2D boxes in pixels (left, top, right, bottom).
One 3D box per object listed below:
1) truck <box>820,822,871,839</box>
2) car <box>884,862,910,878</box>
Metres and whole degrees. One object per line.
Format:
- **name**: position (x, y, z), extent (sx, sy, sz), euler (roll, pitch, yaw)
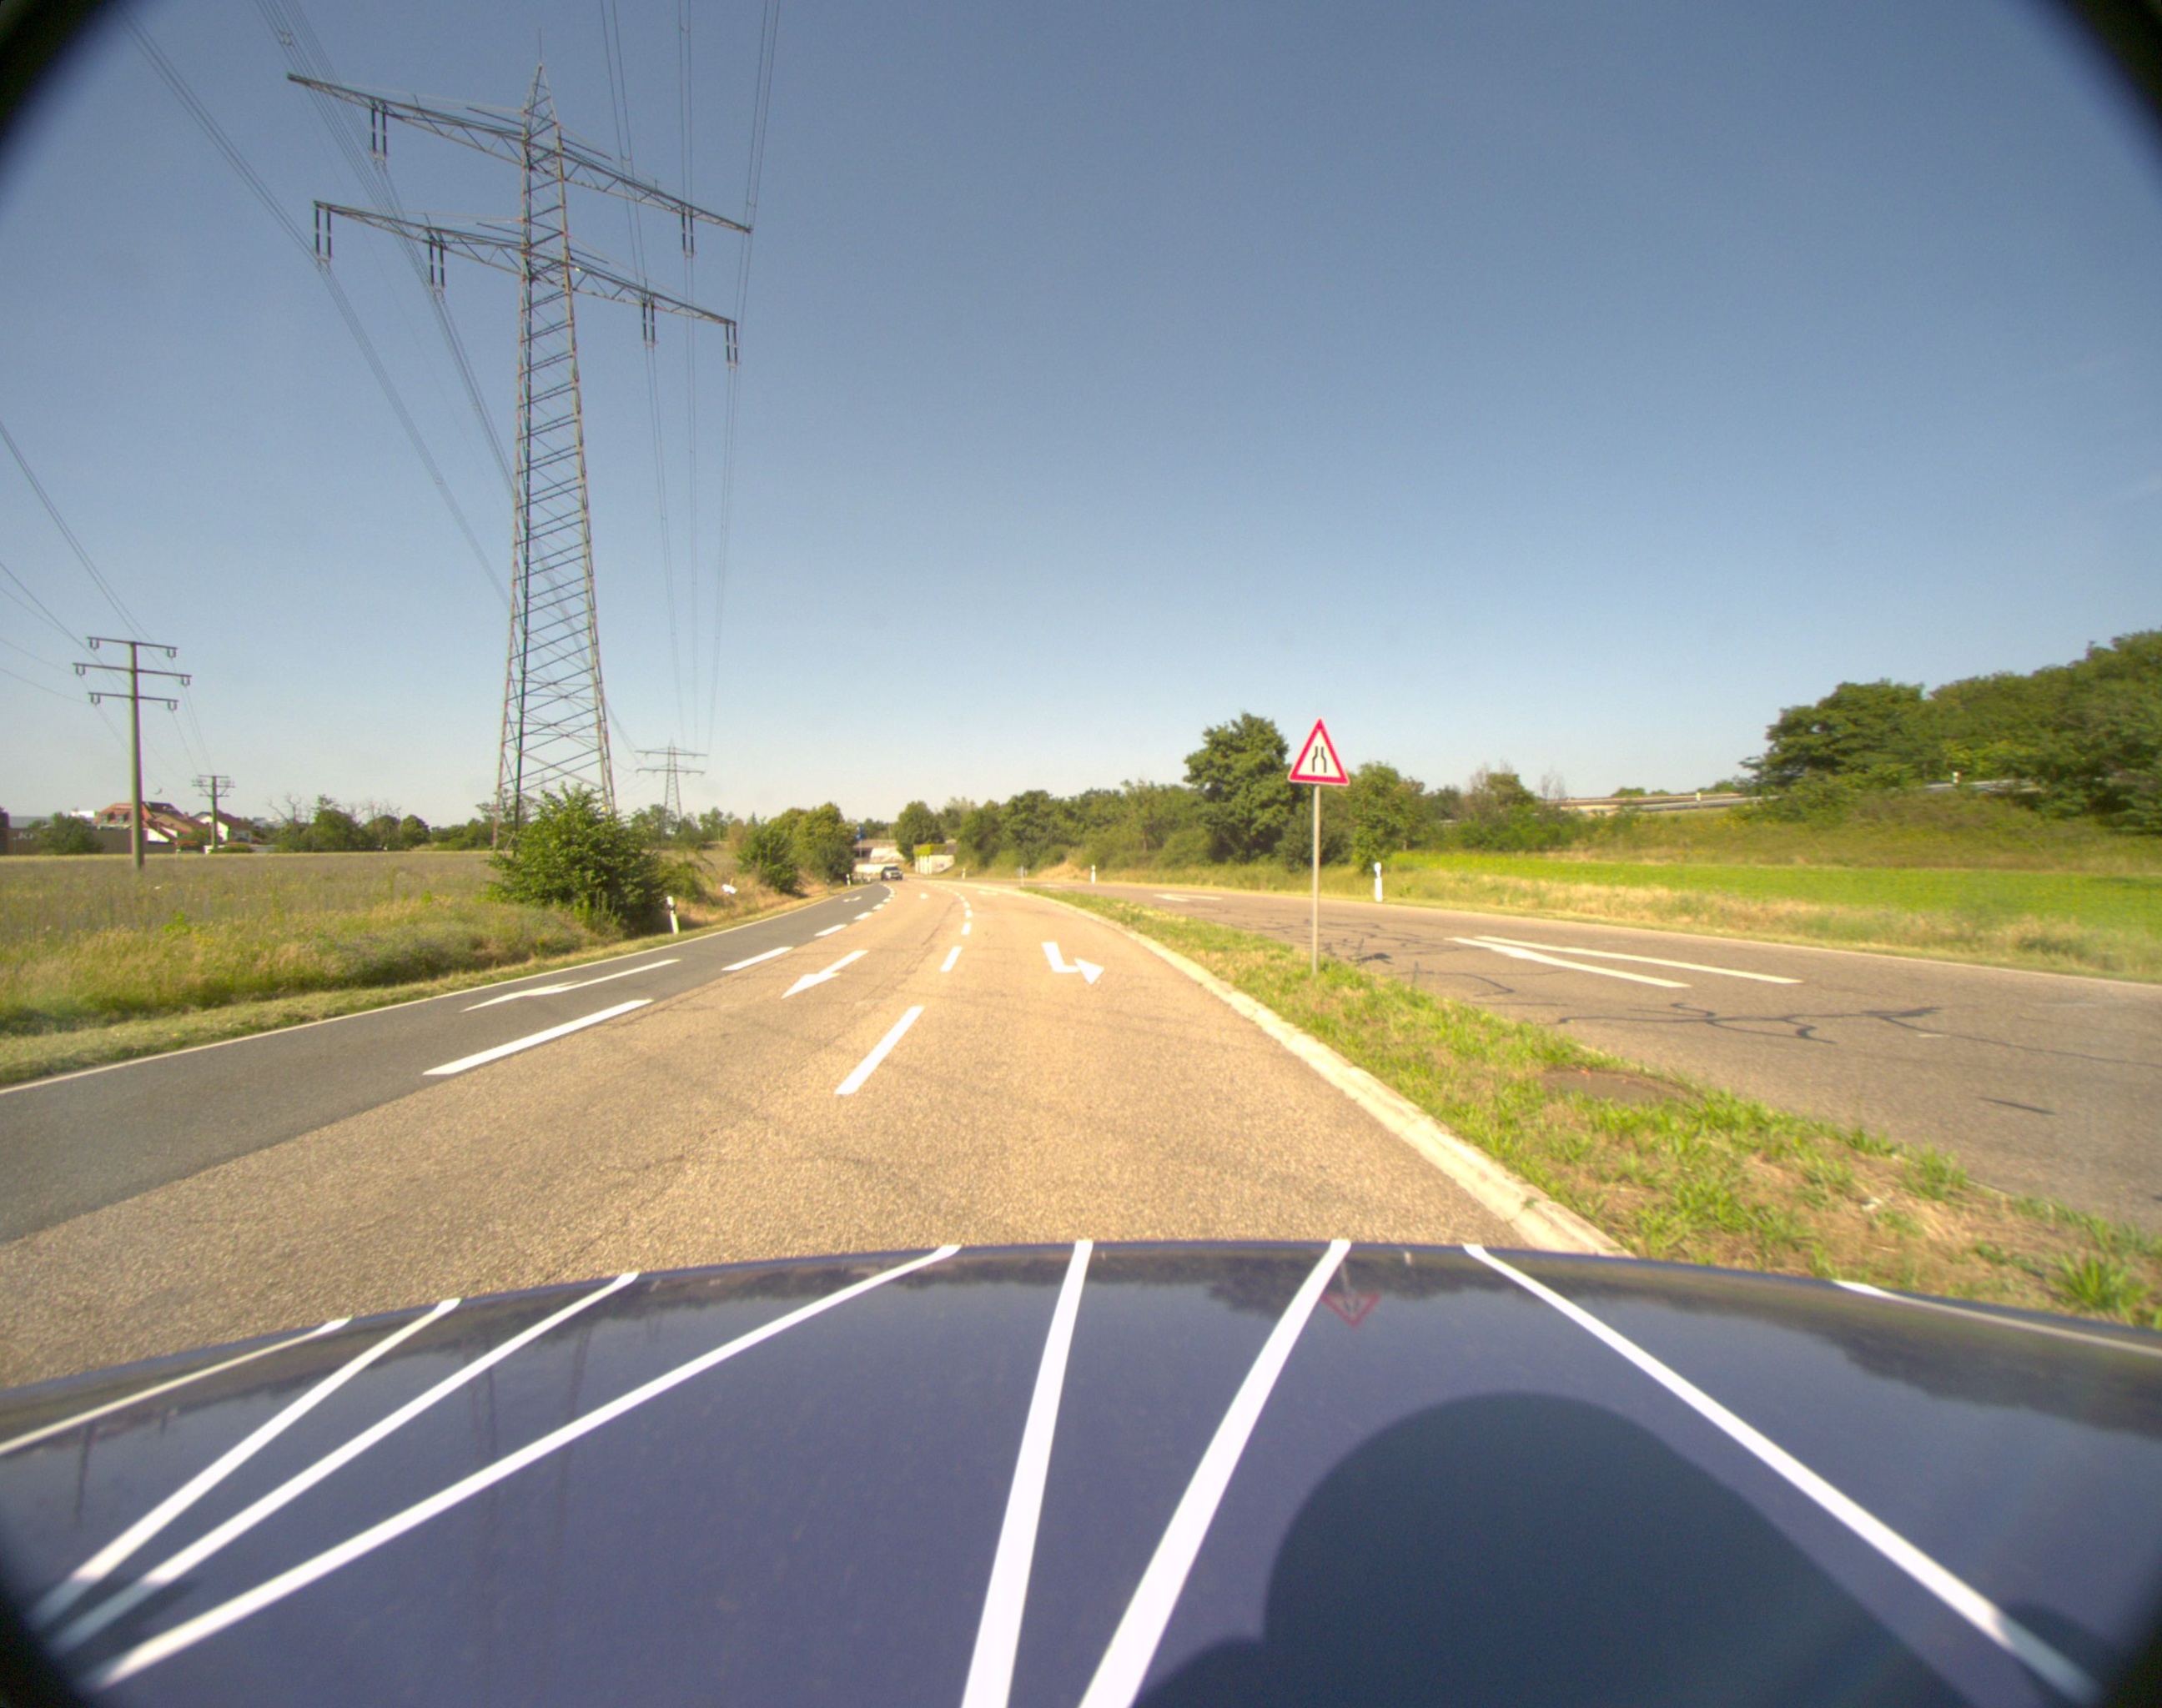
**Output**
- **truck**: position (-51.920, -5.051, 167.167), extent (11.261, 3.165, 2.164), euler (-2, 1, 16)
- **car**: position (-20.539, 1.770, 84.581), extent (1.863, 1.609, 3.639), euler (-2, 0, -29)
